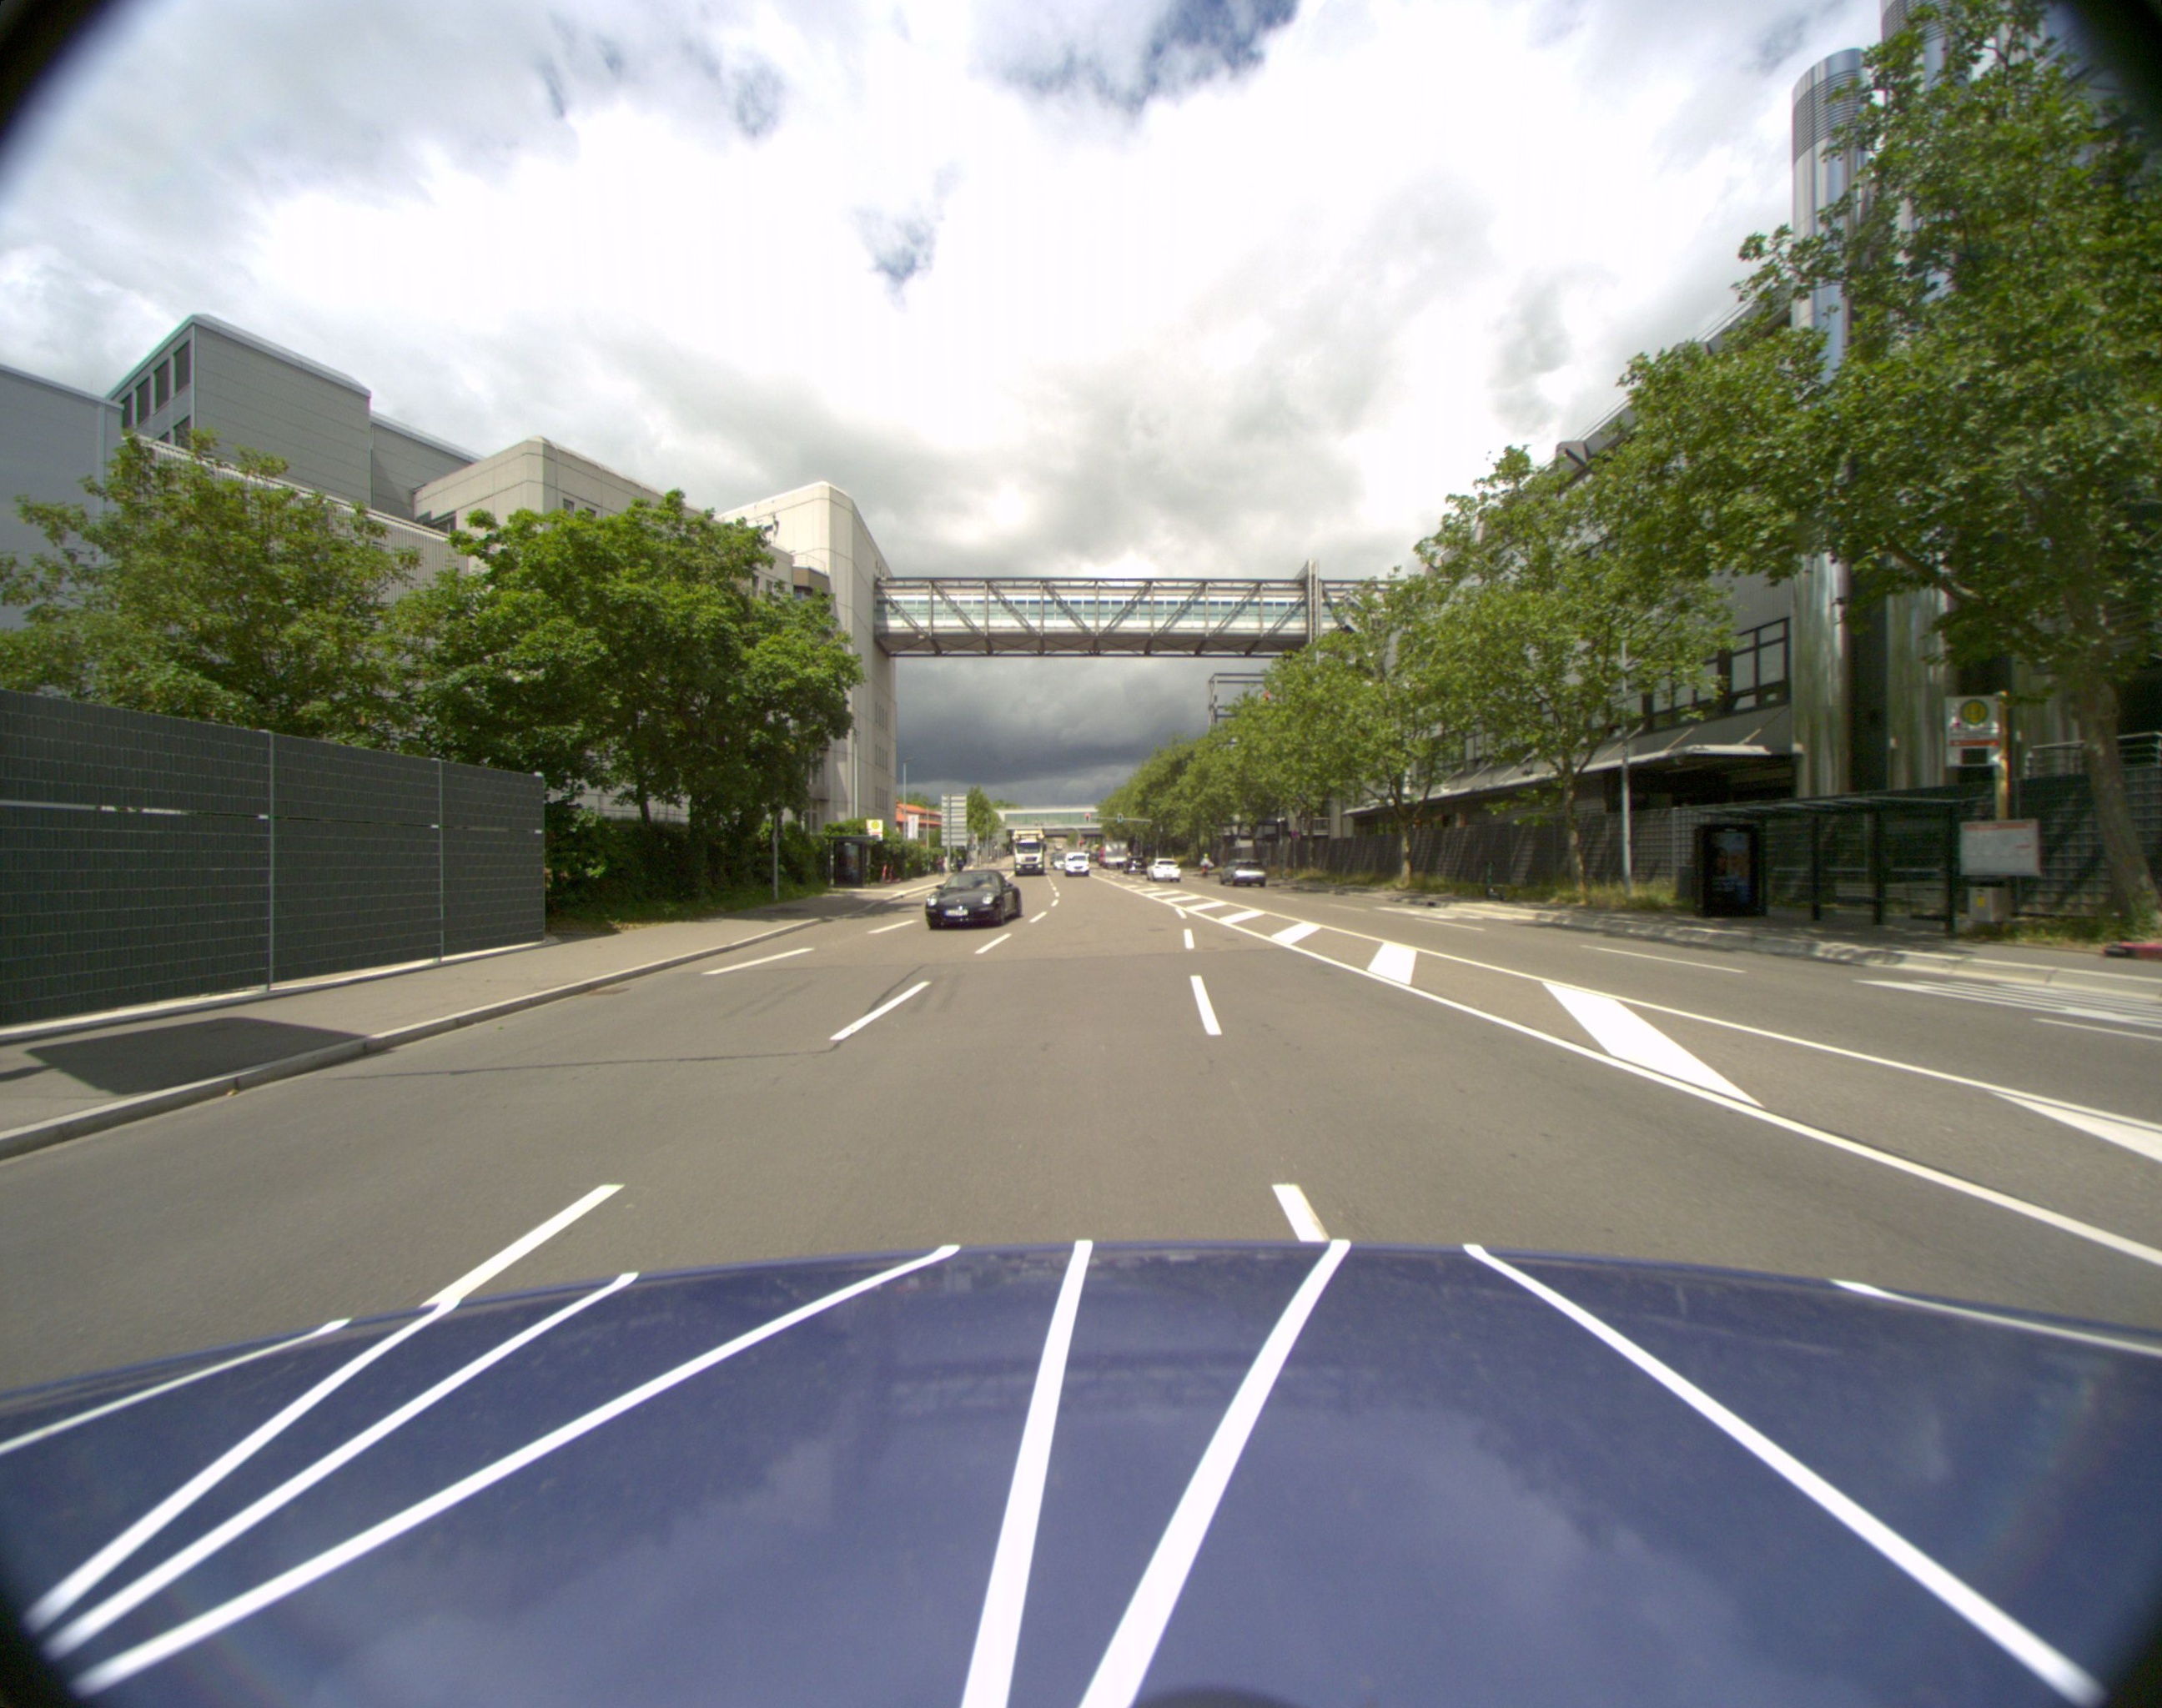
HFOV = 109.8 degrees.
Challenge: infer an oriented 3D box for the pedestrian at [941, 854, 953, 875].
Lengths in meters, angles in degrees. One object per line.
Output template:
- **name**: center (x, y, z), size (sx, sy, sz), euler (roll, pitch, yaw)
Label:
- **pedestrian**: center (-10.523, 0.842, 59.567), size (0.812, 1.635, 0.997), euler (1, 1, -4)

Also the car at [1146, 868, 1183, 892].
- **car**: center (5.282, 1.622, 48.428), size (1.696, 1.406, 4.144), euler (1, 0, -2)

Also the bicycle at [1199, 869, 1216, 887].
- **bicycle**: center (9.581, 1.794, 57.622), size (0.738, 1.227, 2.472), euler (1, 0, -4)

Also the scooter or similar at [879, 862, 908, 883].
- **scooter or similar**: center (-10.361, 1.000, 41.994), size (0.542, 1.156, 1.795), euler (0, 0, 25)

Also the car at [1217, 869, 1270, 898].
- **car**: center (9.017, 1.604, 42.500), size (1.883, 1.496, 4.190), euler (1, -1, -3)

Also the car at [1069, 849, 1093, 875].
- **car**: center (0.009, 0.666, 59.475), size (1.824, 2.001, 4.392), euler (-1, -1, 0)

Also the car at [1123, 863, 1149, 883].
- **car**: center (4.746, 1.594, 65.982), size (1.744, 1.571, 4.266), euler (1, 0, -2)

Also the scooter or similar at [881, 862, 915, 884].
- **scooter or similar**: center (-9.886, 1.018, 41.093), size (0.542, 1.156, 2.131), euler (0, 0, 25)

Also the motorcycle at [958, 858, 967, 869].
- **motorcycle**: center (-12.333, 0.969, 79.124), size (0.592, 1.061, 2.036), euler (1, 0, -2)

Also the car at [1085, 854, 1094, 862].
- **car**: center (1.533, 0.742, 140.797), size (1.562, 1.496, 3.612), euler (1, 0, -2)

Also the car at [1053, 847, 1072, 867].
- **car**: center (-2.035, 0.312, 83.375), size (1.872, 1.944, 4.710), euler (-2, 1, -1)

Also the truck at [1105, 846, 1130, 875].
- **truck**: center (4.105, 0.678, 86.845), size (2.458, 3.111, 7.242), euler (-2, 1, 0)

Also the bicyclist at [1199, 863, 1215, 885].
- **bicyclist**: center (9.590, 1.519, 57.852), size (0.958, 1.588, 1.222), euler (1, 1, -5)

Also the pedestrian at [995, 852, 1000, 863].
- **pedestrian**: center (-13.434, 0.582, 122.104), size (0.729, 1.756, 1.015), euler (-2, 1, -2)

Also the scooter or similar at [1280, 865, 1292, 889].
- **scooter or similar**: center (12.685, 1.427, 47.092), size (0.304, 1.395, 1.235), euler (-2, 1, -2)

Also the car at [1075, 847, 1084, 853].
- **car**: center (-0.283, -0.881, 179.713), size (1.890, 1.446, 3.901), euler (1, 0, -3)

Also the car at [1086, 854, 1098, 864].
- **car**: center (1.837, 0.825, 126.560), size (1.740, 1.674, 4.212), euler (-2, 1, -2)

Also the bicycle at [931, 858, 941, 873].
- **bicycle**: center (-11.937, 0.970, 62.503), size (0.444, 1.173, 2.468), euler (-2, 1, -2)

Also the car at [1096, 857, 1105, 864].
- **car**: center (4.193, 1.378, 164.040), size (1.697, 1.421, 3.821), euler (0, 0, -3)

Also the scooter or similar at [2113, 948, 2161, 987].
- **scooter or similar**: center (15.013, 1.519, 9.932), size (1.361, 0.378, 1.493), euler (-4, -1, 33)

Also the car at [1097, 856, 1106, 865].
- **car**: center (4.472, 1.378, 164.255), size (1.740, 1.674, 3.783), euler (-2, 1, -1)

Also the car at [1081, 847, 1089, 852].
- **car**: center (1.075, -1.212, 207.996), size (1.999, 1.446, 4.766), euler (1, 0, -4)

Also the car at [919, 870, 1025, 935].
- **car**: center (-2.547, 1.110, 18.688), size (1.838, 1.317, 4.001), euler (-3, -1, 2)

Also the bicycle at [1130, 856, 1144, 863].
- **bicycle**: center (10.307, 0.992, 140.268), size (2.564, 1.079, 0.615), euler (-2, 1, -11)

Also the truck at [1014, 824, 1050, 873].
- **truck**: center (-4.156, -0.454, 66.501), size (2.713, 3.863, 10.737), euler (-2, 1, -2)

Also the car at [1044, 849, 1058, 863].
- **car**: center (-4.296, 0.239, 110.486), size (1.872, 1.944, 4.710), euler (-3, 1, -1)

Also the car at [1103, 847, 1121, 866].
- **car**: center (4.102, 0.314, 101.807), size (2.069, 2.492, 5.478), euler (1, 0, -2)

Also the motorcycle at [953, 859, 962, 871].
- **motorcycle**: center (-11.845, 1.041, 72.865), size (0.592, 1.061, 2.036), euler (0, 0, -2)
